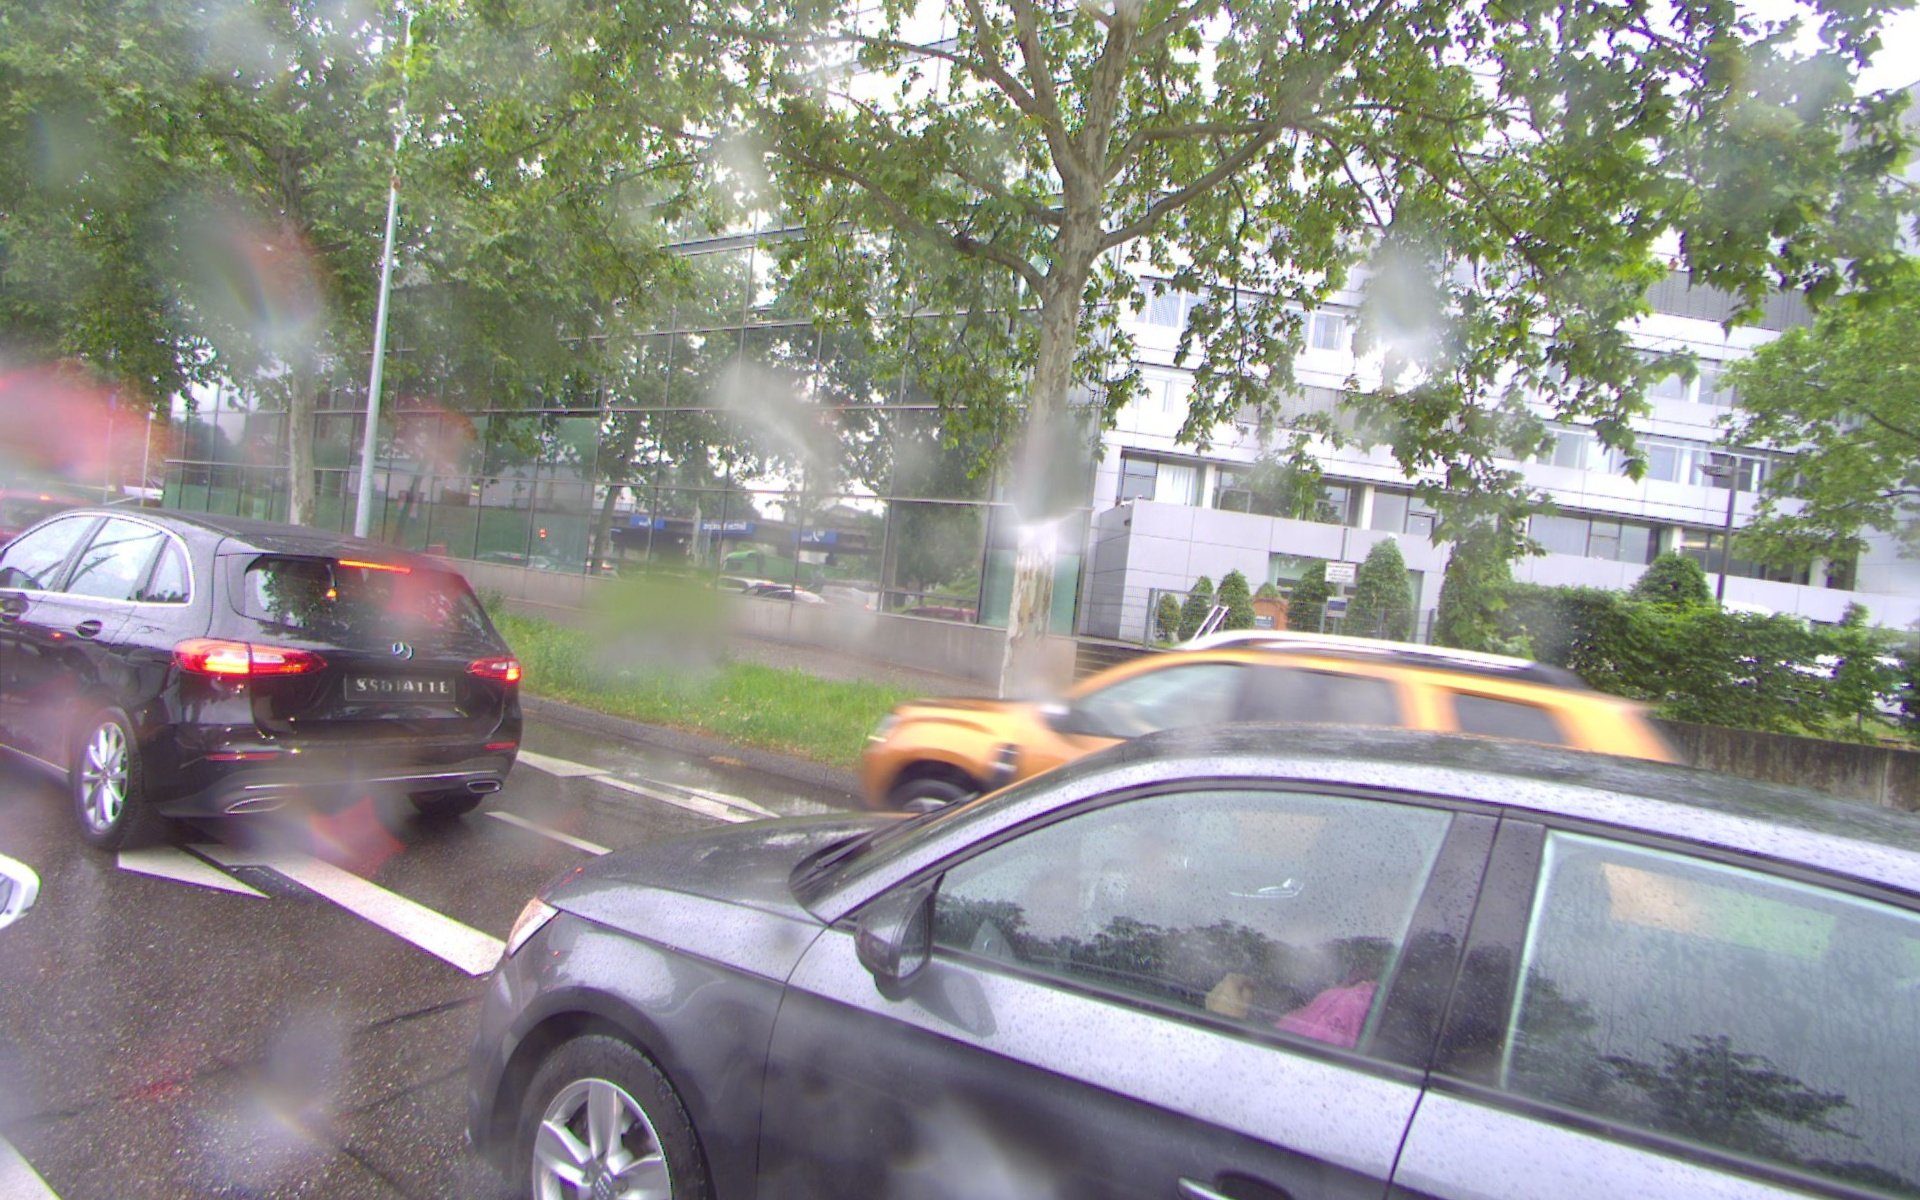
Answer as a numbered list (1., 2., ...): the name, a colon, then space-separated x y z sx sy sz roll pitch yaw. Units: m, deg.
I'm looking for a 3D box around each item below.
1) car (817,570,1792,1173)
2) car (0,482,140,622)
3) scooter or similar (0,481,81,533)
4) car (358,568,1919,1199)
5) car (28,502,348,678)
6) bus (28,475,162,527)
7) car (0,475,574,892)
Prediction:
1. car: 1.468 0.998 5.267 4.079 1.704 1.679 8 -2 32
2. car: -14.071 -0.801 14.791 4.201 1.714 1.714 6 -2 32
3. scooter or similar: -54.531 -5.500 58.139 5.228 2.476 1.893 7 0 -9
4. car: 0.671 0.902 2.110 3.718 1.445 1.679 7 -1 31
5. car: -8.570 -0.123 11.135 3.332 1.480 1.572 7 -1 31
6. bus: -83.135 -9.405 97.119 2.437 3.465 12.005 7 0 -1
7. car: -4.342 0.248 5.754 4.022 1.573 1.751 7 -1 31
